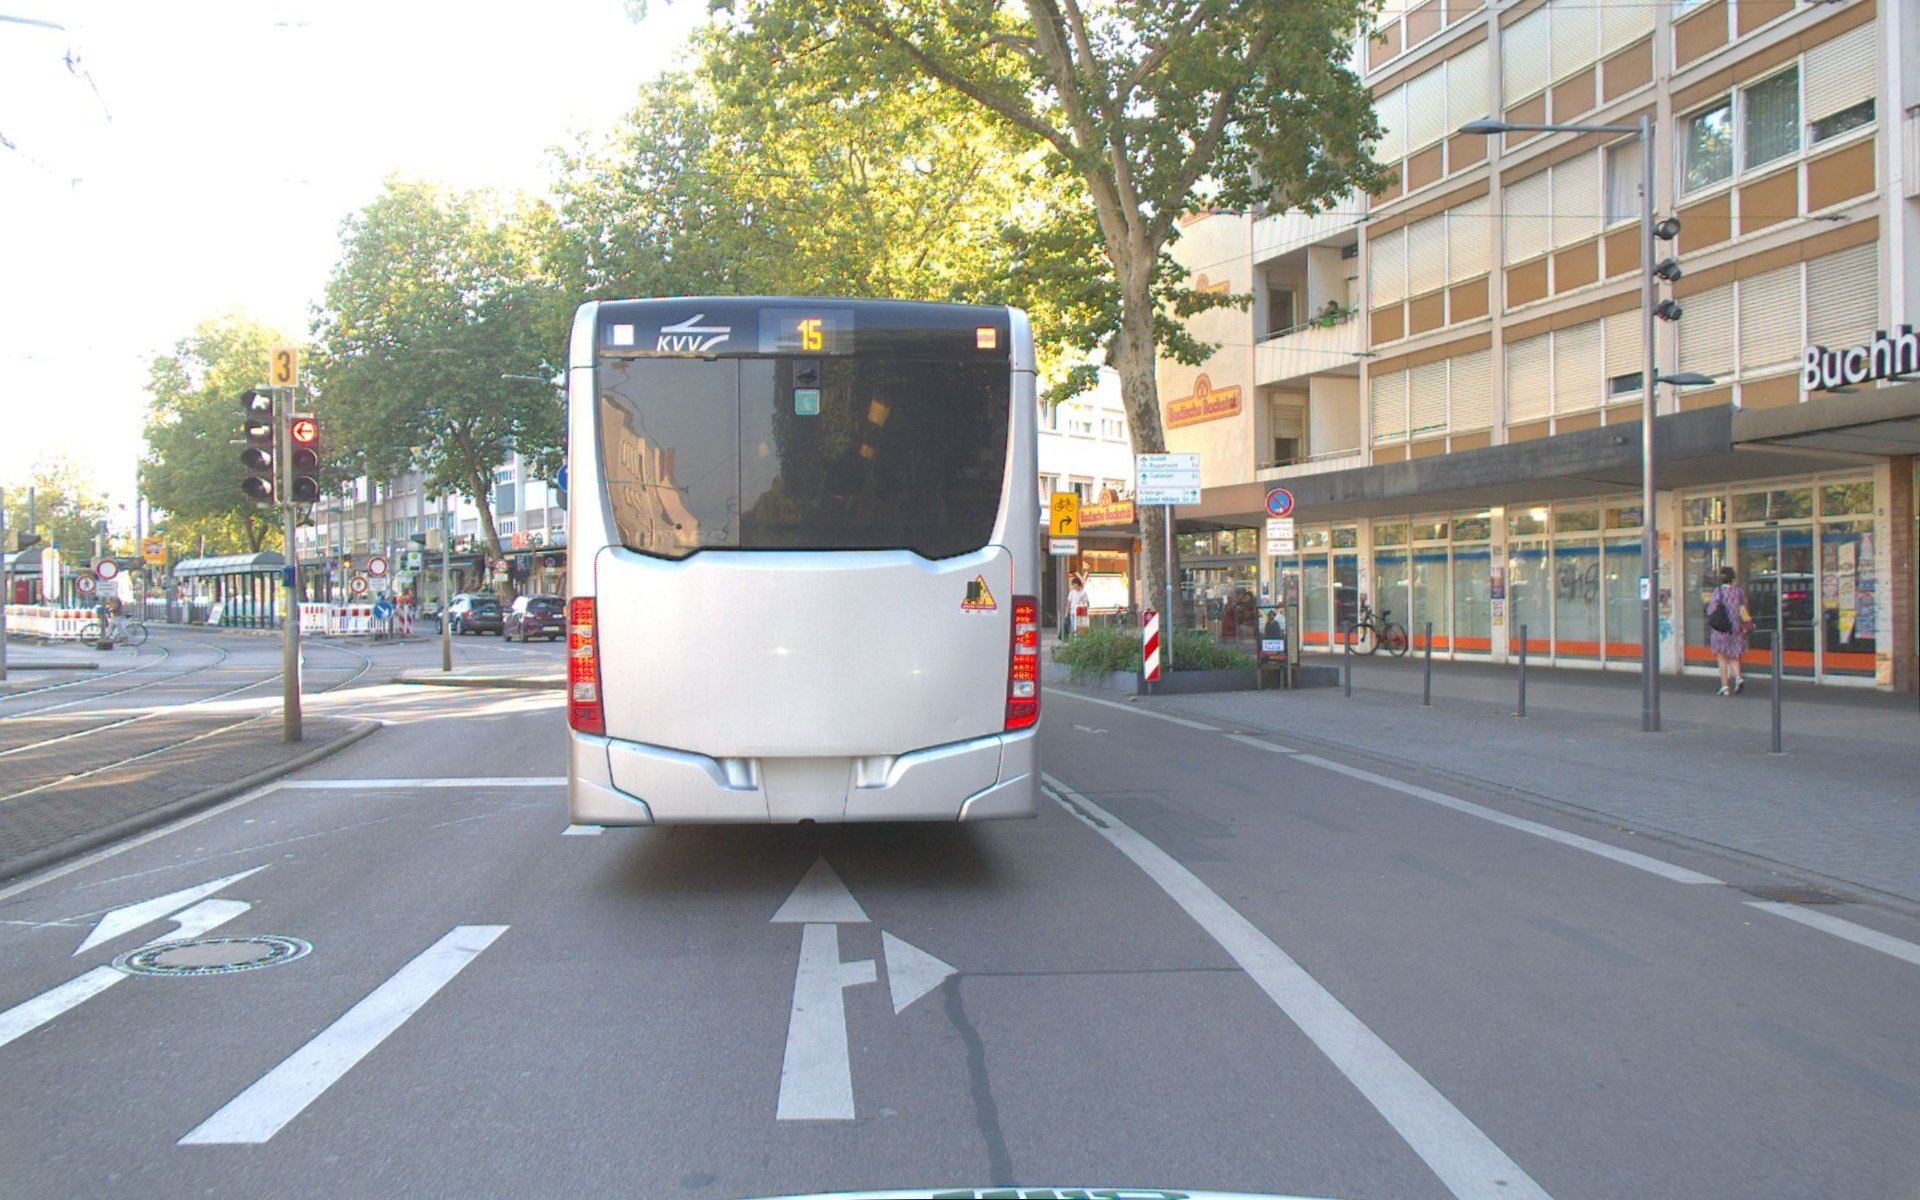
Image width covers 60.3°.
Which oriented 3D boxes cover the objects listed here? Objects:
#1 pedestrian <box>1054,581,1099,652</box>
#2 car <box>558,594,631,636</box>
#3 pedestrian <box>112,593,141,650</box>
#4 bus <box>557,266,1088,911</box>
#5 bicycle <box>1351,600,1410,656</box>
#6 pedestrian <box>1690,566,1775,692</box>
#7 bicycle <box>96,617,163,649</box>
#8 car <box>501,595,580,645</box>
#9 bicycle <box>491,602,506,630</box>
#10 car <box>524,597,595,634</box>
[{"bbox_3d":[2.941,0.406,41.796,0.824,1.742,0.788,-3,1,-23],"label":"pedestrian"},{"bbox_3d":[-14.677,0.587,66.320,1.649,1.542,3.370,-4,3,-35],"label":"car"},{"bbox_3d":[-26.036,0.658,51.647,0.716,1.755,0.393,-1,0,-42],"label":"pedestrian"},{"bbox_3d":[-1.151,-0.054,13.309,2.606,3.153,10.203,-1,0,-6],"label":"bus"},{"bbox_3d":[8.618,0.563,33.944,0.431,1.111,1.454,-3,1,-18],"label":"bicycle"},{"bbox_3d":[9.928,0.362,21.281,0.628,1.579,0.805,-1,0,-13],"label":"pedestrian"},{"bbox_3d":[-26.173,1.045,52.150,1.830,0.959,0.456,-1,0,-41],"label":"bicycle"},{"bbox_3d":[-13.268,0.594,52.169,1.733,1.489,3.969,-1,0,-24],"label":"car"},{"bbox_3d":[-20.644,0.715,73.907,0.499,1.232,2.081,0,0,-19],"label":"bicycle"},{"bbox_3d":[-16.930,0.617,69.888,1.650,1.419,3.367,-4,3,-37],"label":"car"}]
